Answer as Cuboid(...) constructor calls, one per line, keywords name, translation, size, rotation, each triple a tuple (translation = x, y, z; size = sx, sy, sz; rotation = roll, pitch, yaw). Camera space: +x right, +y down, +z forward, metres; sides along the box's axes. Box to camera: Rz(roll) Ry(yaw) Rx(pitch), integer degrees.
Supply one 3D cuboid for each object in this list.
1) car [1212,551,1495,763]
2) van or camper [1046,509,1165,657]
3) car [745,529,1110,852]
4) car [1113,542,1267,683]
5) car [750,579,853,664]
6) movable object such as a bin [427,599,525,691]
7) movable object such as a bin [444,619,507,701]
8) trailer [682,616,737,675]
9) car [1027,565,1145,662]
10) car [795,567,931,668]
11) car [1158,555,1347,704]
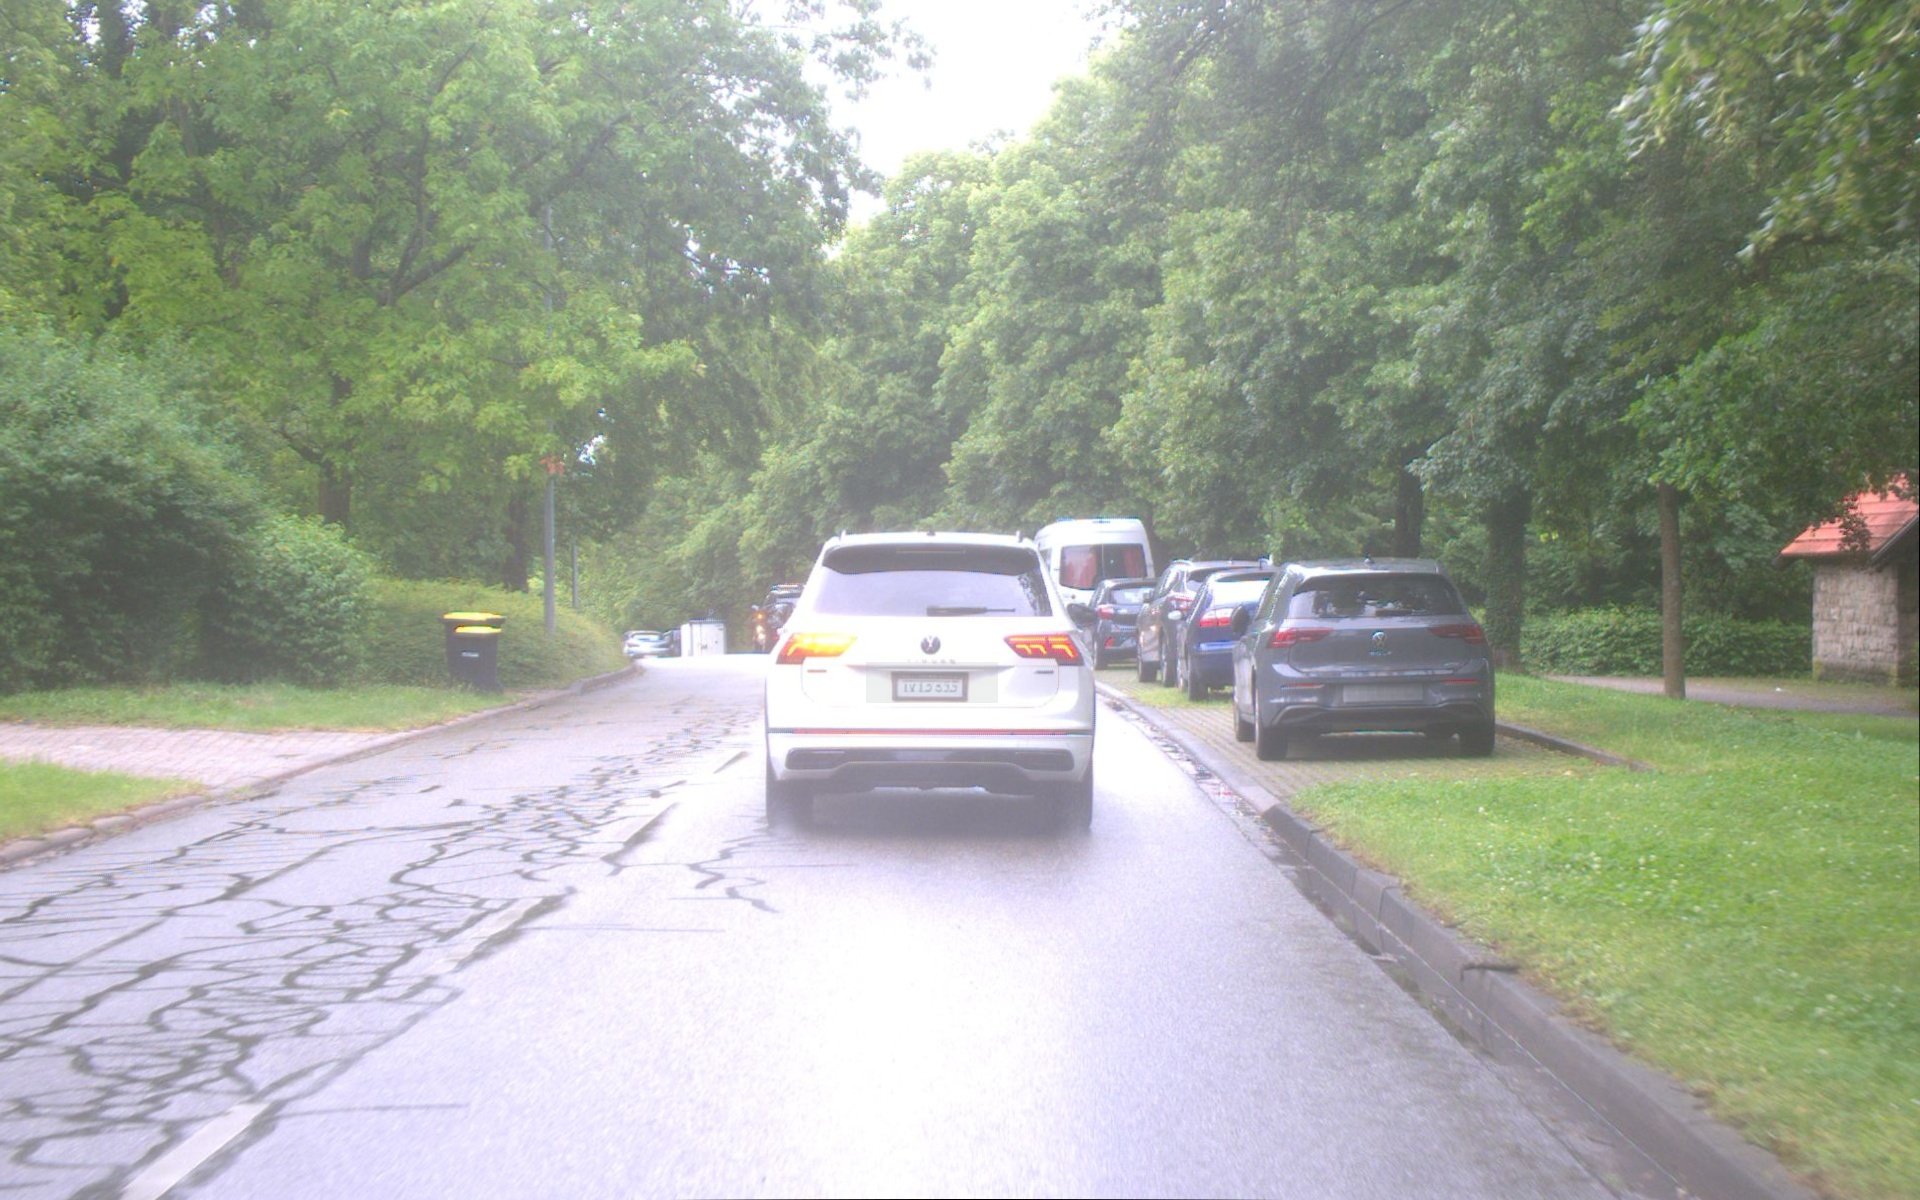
Cuboid(name="car", translation=(2.942, 0.388, 26.458), size=(1.700, 1.457, 4.217), rotation=(-2, 0, 1))
Cuboid(name="van or camper", translation=(2.669, -0.345, 64.908), size=(2.016, 2.574, 8.435), rotation=(1, 1, 1))
Cuboid(name="car", translation=(-0.245, 0.459, 20.218), size=(1.905, 1.679, 4.201), rotation=(1, 1, -2))
Cuboid(name="car", translation=(2.953, 0.128, 44.839), size=(1.781, 1.713, 4.261), rotation=(-1, 1, 1))
Cuboid(name="car", translation=(-4.031, 0.516, 86.935), size=(1.993, 2.007, 4.001), rotation=(0, 2, -12))
Cuboid(name="movable object such as a bin", translation=(-6.009, 0.556, 42.694), size=(1.037, 1.101, 0.966), rotation=(-1, 0, 2))
Cuboid(name="movable object such as a bin", translation=(-5.961, 0.730, 42.301), size=(0.648, 0.976, 0.578), rotation=(2, 0, 2))
Cuboid(name="trailer", translation=(-9.636, 1.767, 132.034), size=(1.529, 2.069, 4.000), rotation=(-2, -3, -12))
Cuboid(name="car", translation=(2.048, 0.197, 56.569), size=(1.865, 1.506, 3.724), rotation=(-1, 1, 1))
Cuboid(name="car", translation=(-2.083, 0.340, 72.508), size=(1.993, 2.007, 4.001), rotation=(0, 2, -15))
Cuboid(name="car", translation=(3.178, 0.284, 38.008), size=(1.743, 1.447, 4.000), rotation=(-4, 1, 1))
